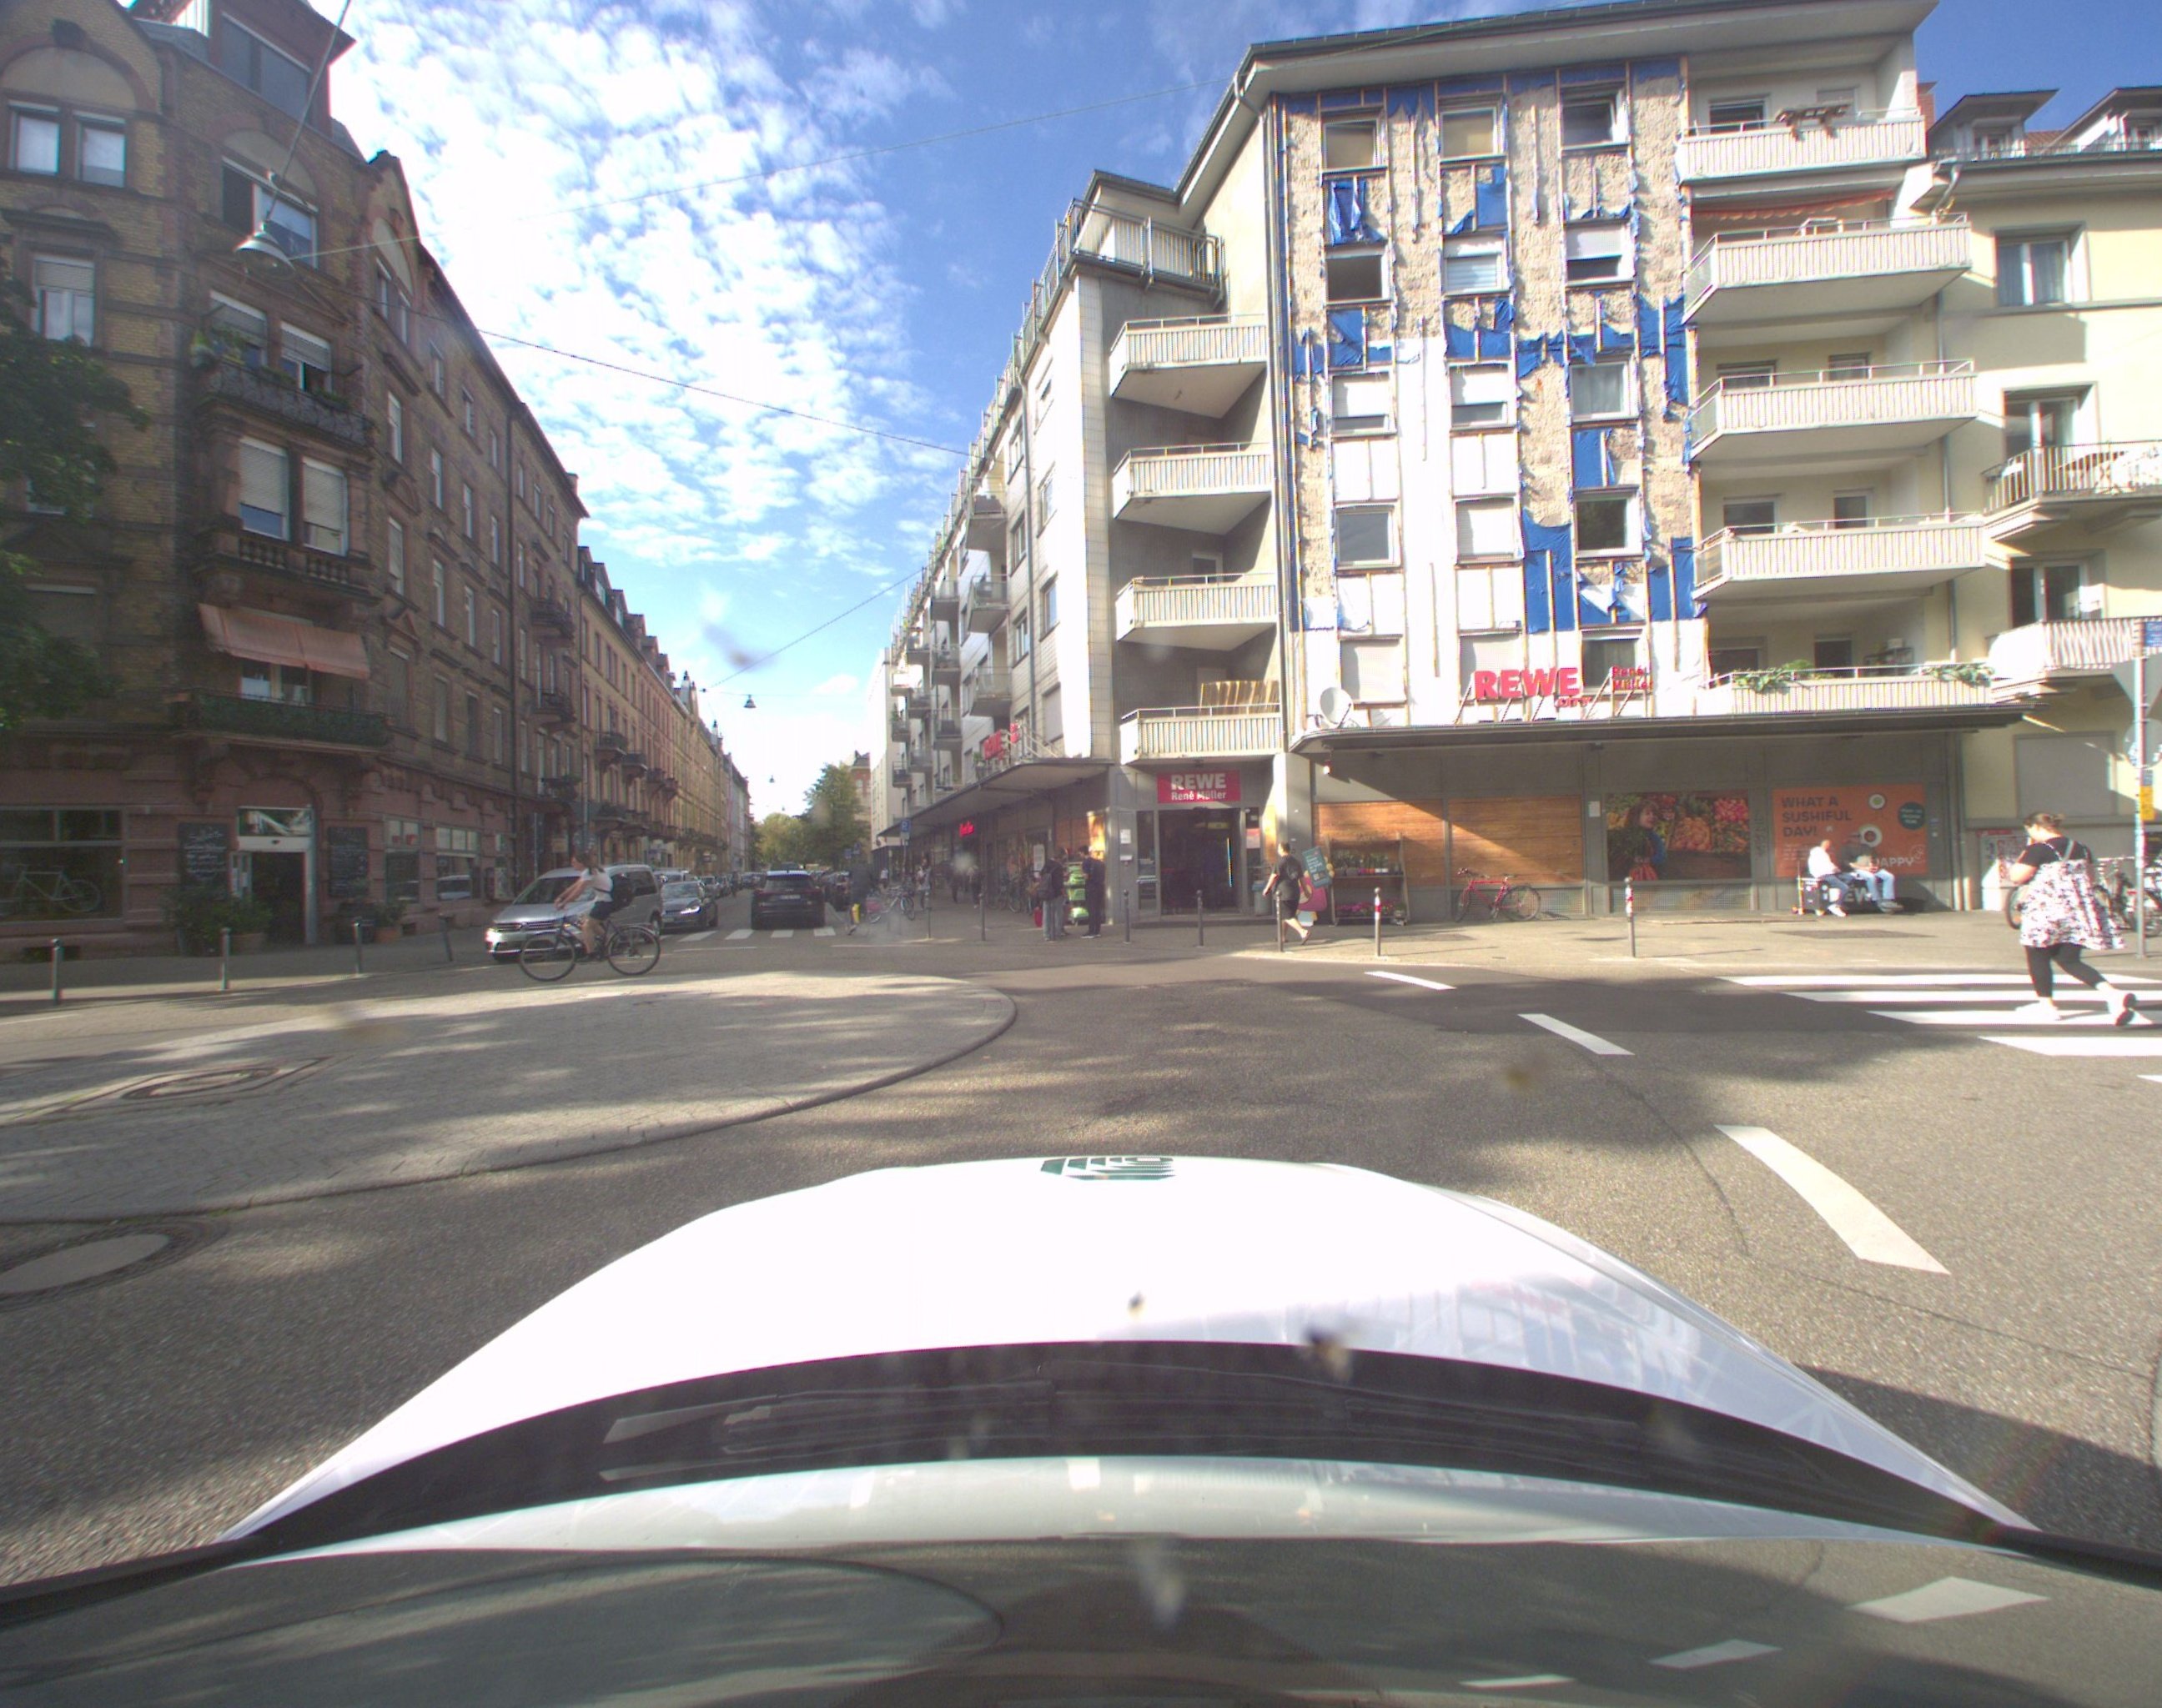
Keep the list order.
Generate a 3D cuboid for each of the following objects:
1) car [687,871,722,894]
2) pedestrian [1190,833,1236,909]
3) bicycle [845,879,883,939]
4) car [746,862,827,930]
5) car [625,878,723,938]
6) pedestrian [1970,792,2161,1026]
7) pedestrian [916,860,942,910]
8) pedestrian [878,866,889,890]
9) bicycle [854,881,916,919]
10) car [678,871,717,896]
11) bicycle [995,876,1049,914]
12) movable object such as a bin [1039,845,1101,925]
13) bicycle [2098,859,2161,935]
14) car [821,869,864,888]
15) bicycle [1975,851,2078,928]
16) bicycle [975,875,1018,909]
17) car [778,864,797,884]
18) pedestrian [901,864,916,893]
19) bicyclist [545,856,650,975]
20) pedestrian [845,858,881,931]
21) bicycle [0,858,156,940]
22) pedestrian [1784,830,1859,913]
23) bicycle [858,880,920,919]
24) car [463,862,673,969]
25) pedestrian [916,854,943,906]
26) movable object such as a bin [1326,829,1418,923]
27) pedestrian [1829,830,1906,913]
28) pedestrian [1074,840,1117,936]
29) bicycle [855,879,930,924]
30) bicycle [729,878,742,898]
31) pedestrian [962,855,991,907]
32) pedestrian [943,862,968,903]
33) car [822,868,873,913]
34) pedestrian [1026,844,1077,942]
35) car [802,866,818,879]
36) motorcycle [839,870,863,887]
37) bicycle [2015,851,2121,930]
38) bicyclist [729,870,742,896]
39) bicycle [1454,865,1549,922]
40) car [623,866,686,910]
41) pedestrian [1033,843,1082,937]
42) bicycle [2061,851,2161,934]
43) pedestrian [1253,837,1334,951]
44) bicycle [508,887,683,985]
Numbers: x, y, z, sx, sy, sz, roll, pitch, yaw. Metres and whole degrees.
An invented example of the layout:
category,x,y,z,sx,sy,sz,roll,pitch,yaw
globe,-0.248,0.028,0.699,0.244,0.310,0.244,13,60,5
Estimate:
category,x,y,z,sx,sy,sz,roll,pitch,yaw
car,-25.641,1.923,55.585,1.747,1.484,3.957,0,-1,-19
pedestrian,3.146,0.409,19.482,0.764,1.753,0.926,-1,-1,-14
bicycle,-5.113,1.248,19.136,0.720,1.274,1.872,-2,0,-18
car,-8.403,1.165,23.426,1.971,1.741,4.015,-1,-2,-19
car,-11.278,1.445,22.825,1.796,1.438,3.975,-3,-1,-18
pedestrian,7.971,0.407,6.592,0.614,1.753,0.837,-1,-1,-20
pedestrian,-5.308,1.077,28.452,0.803,1.671,1.017,-2,-2,-14
pedestrian,-14.308,1.714,59.003,0.613,1.726,1.119,-2,0,-18
bicycle,-6.377,1.493,26.518,1.799,1.070,0.581,-4,1,-29
car,-24.047,1.851,51.186,1.747,1.484,3.958,0,-1,-19
bicycle,-1.744,1.190,23.701,0.681,1.043,1.714,-1,-2,-39
movable object such as a bin,-0.304,0.708,19.261,0.781,1.744,2.409,-1,-1,-17
bicycle,15.292,0.591,11.521,1.496,1.019,0.412,-2,0,-8
car,-23.562,2.427,80.502,3.784,1.546,1.714,-3,-1,-30
bicycle,14.823,0.539,12.760,1.698,1.086,0.419,-3,0,-18
bicycle,-2.765,1.213,26.565,0.746,1.015,1.767,-4,0,-27
car,-29.395,1.992,81.524,1.788,2.020,3.861,0,-1,-20
pedestrian,-9.793,1.407,46.231,0.645,1.588,0.776,-3,0,-17
bicyclist,-6.826,0.849,11.544,1.127,1.587,0.688,-1,-3,-18
pedestrian,-5.125,0.932,19.137,0.720,1.650,0.924,-2,0,-18
bicycle,-19.882,0.866,16.028,2.168,1.521,0.552,-1,-1,-25
pedestrian,13.944,0.330,15.352,0.749,1.506,0.668,-2,-1,0
bicycle,-6.106,1.426,25.936,1.799,1.070,0.563,-4,1,-29
car,-10.227,1.110,16.689,1.827,1.791,4.321,-3,0,-6
pedestrian,-5.663,0.967,30.463,0.884,1.834,1.043,-4,0,-12
movable object such as a bin,5.705,0.417,16.031,1.538,1.754,0.691,-2,1,3
pedestrian,14.705,0.324,15.247,0.663,1.506,0.754,-2,-1,2
pedestrian,0.275,0.637,15.927,0.652,1.797,0.657,-4,1,-6
bicycle,-5.502,1.361,23.815,1.896,1.125,0.898,-4,0,-32
bicycle,-22.782,2.225,53.715,0.703,1.220,2.102,1,-1,-21
pedestrian,-3.637,0.928,28.379,0.716,1.746,0.811,-4,0,-21
pedestrian,-5.028,1.126,32.629,0.826,1.588,0.776,-2,-1,-18
car,-9.728,1.449,33.756,1.798,1.605,3.899,-4,0,-18
pedestrian,-0.557,0.739,15.653,0.625,1.797,0.719,-4,1,22
car,-36.672,2.461,110.207,1.936,1.638,3.975,0,-1,-19
motorcycle,-22.226,2.352,78.624,2.154,1.530,0.682,-4,0,-15
bicycle,15.006,0.534,12.383,1.698,1.086,0.419,-3,0,-18
bicyclist,-22.834,1.897,53.853,0.703,1.678,1.104,1,-1,-21
bicycle,8.089,0.763,15.722,1.519,1.033,0.585,-2,1,15
car,-19.617,1.515,37.614,1.926,1.871,4.407,-1,0,-20
pedestrian,-0.471,0.711,16.350,0.707,1.797,0.635,-4,1,14
bicycle,15.091,0.539,11.870,1.698,1.086,0.419,-3,0,-18
pedestrian,3.494,0.635,13.470,0.849,1.746,1.046,-4,0,-8
bicycle,-6.809,1.128,11.528,1.977,1.199,0.688,-3,-3,-18
